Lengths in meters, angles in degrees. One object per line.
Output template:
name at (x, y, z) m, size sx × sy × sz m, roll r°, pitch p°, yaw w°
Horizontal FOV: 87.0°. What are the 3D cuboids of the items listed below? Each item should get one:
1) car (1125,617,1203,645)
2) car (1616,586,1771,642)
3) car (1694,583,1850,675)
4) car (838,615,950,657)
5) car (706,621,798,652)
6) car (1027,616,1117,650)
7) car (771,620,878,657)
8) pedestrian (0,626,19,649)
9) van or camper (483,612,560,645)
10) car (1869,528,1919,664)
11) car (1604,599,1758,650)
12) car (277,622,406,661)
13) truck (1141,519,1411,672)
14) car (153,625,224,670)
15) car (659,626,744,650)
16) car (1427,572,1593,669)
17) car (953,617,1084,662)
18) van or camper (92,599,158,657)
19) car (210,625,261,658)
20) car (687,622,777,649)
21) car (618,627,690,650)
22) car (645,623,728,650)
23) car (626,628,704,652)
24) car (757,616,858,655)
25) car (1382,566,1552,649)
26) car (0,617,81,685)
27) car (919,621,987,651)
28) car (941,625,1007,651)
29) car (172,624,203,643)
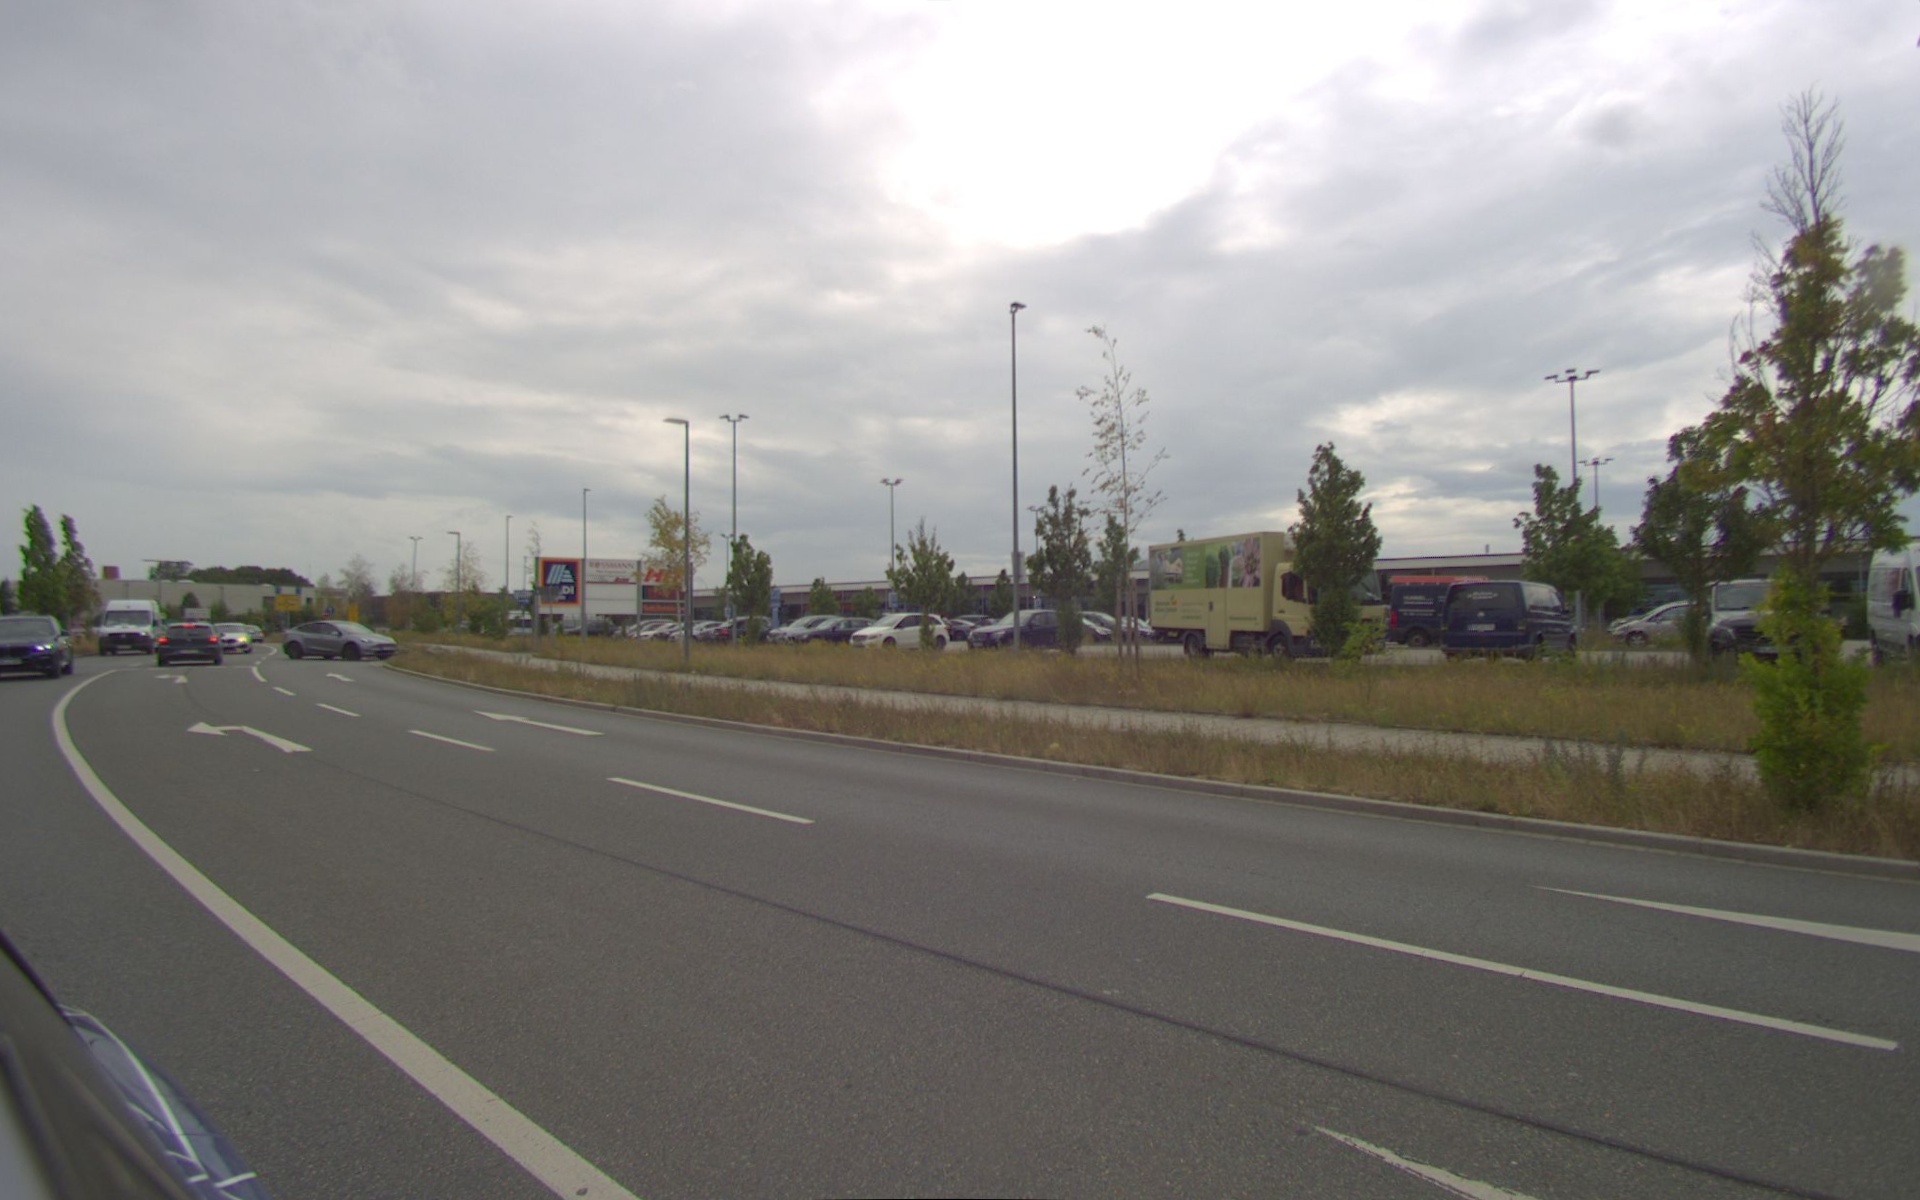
car at (11.836, 1.822, 58.780) m, size 3.988 × 1.619 × 1.977 m, roll -2°, pitch -3°, yaw 33°
car at (25.894, 0.527, 35.939) m, size 4.252 × 1.863 × 1.979 m, roll -1°, pitch -2°, yaw 31°
car at (16.300, 0.589, 20.568) m, size 1.989 × 1.629 × 4.862 m, roll -1°, pitch -2°, yaw 33°
car at (-2.593, 1.428, 40.254) m, size 4.197 × 1.571 × 1.991 m, roll 2°, pitch -3°, yaw -44°
car at (-10.325, 1.803, 50.353) m, size 4.161 × 1.449 × 1.779 m, roll 1°, pitch -2°, yaw -35°
car at (5.502, 1.636, 49.839) m, size 3.988 × 1.619 × 1.977 m, roll -2°, pitch -3°, yaw 33°
car at (-5.932, 1.658, 44.371) m, size 4.185 × 1.525 × 2.051 m, roll 0°, pitch -2°, yaw -34°
pedestrian at (-80.038, 3.147, 84.902) m, size 1.057 × 1.872 × 1.198 m, roll 1°, pitch -1°, yaw -12°
van or camper at (-38.584, 2.517, 89.138) m, size 5.783 × 2.821 × 2.245 m, roll 2°, pitch -2°, yaw -44°
car at (18.668, -0.042, 18.585) m, size 2.205 × 2.324 × 6.015 m, roll -1°, pitch -2°, yaw 35°
car at (23.631, 0.819, 33.360) m, size 3.985 × 1.614 × 1.656 m, roll -1°, pitch -2°, yaw 31°
car at (-25.842, 1.750, 42.321) m, size 4.570 × 1.573 × 1.990 m, roll -1°, pitch -2°, yaw 15°
truck at (8.258, 0.002, 28.025) m, size 2.810 × 3.568 × 8.454 m, roll 0°, pitch -1°, yaw -17°
car at (-26.364, 1.577, 34.699) m, size 1.805 × 1.431 × 4.255 m, roll 1°, pitch -2°, yaw -36°
car at (-14.819, 2.160, 58.077) m, size 4.257 × 1.350 × 2.031 m, roll 1°, pitch -3°, yaw -38°
car at (12.902, 0.497, 23.588) m, size 2.179 × 2.005 × 4.847 m, roll -2°, pitch -2°, yaw 44°
car at (2.014, 1.325, 34.200) m, size 4.179 × 1.446 × 2.001 m, roll 1°, pitch -3°, yaw -41°
van or camper at (-40.130, 1.386, 48.756) m, size 2.229 × 2.636 × 5.708 m, roll 1°, pitch -3°, yaw -38°
car at (-34.619, 1.953, 48.437) m, size 1.854 × 1.480 × 4.204 m, roll 1°, pitch -2°, yaw -34°
car at (-12.349, 1.900, 54.929) m, size 4.298 × 1.402 × 2.171 m, roll 1°, pitch -3°, yaw -33°
car at (-19.750, 2.481, 65.341) m, size 4.029 × 1.402 × 2.005 m, roll 1°, pitch -3°, yaw -33°
car at (-16.387, 2.183, 60.589) m, size 4.306 × 1.517 × 2.245 m, roll 1°, pitch -3°, yaw -34°
car at (-18.411, 2.475, 63.240) m, size 4.261 × 1.468 × 2.015 m, roll 1°, pitch -3°, yaw -36°
car at (-7.043, 1.605, 46.874) m, size 4.188 × 1.736 × 2.032 m, roll 1°, pitch -2°, yaw -39°
car at (17.596, 0.344, 35.237) m, size 5.125 × 2.711 × 2.044 m, roll -2°, pitch -3°, yaw 30°
car at (-25.062, 1.340, 26.832) m, size 1.966 × 1.677 × 4.012 m, roll 0°, pitch -2°, yaw -31°
car at (-0.443, 2.262, 63.949) m, size 3.995 × 1.830 × 1.974 m, roll -1°, pitch -2°, yaw 38°
car at (0.920, 2.479, 66.242) m, size 3.993 × 1.700 × 1.888 m, roll -1°, pitch -2°, yaw 37°
car at (-69.451, 3.004, 91.015) m, size 1.967 × 1.649 × 4.714 m, roll 3°, pitch -3°, yaw -35°
